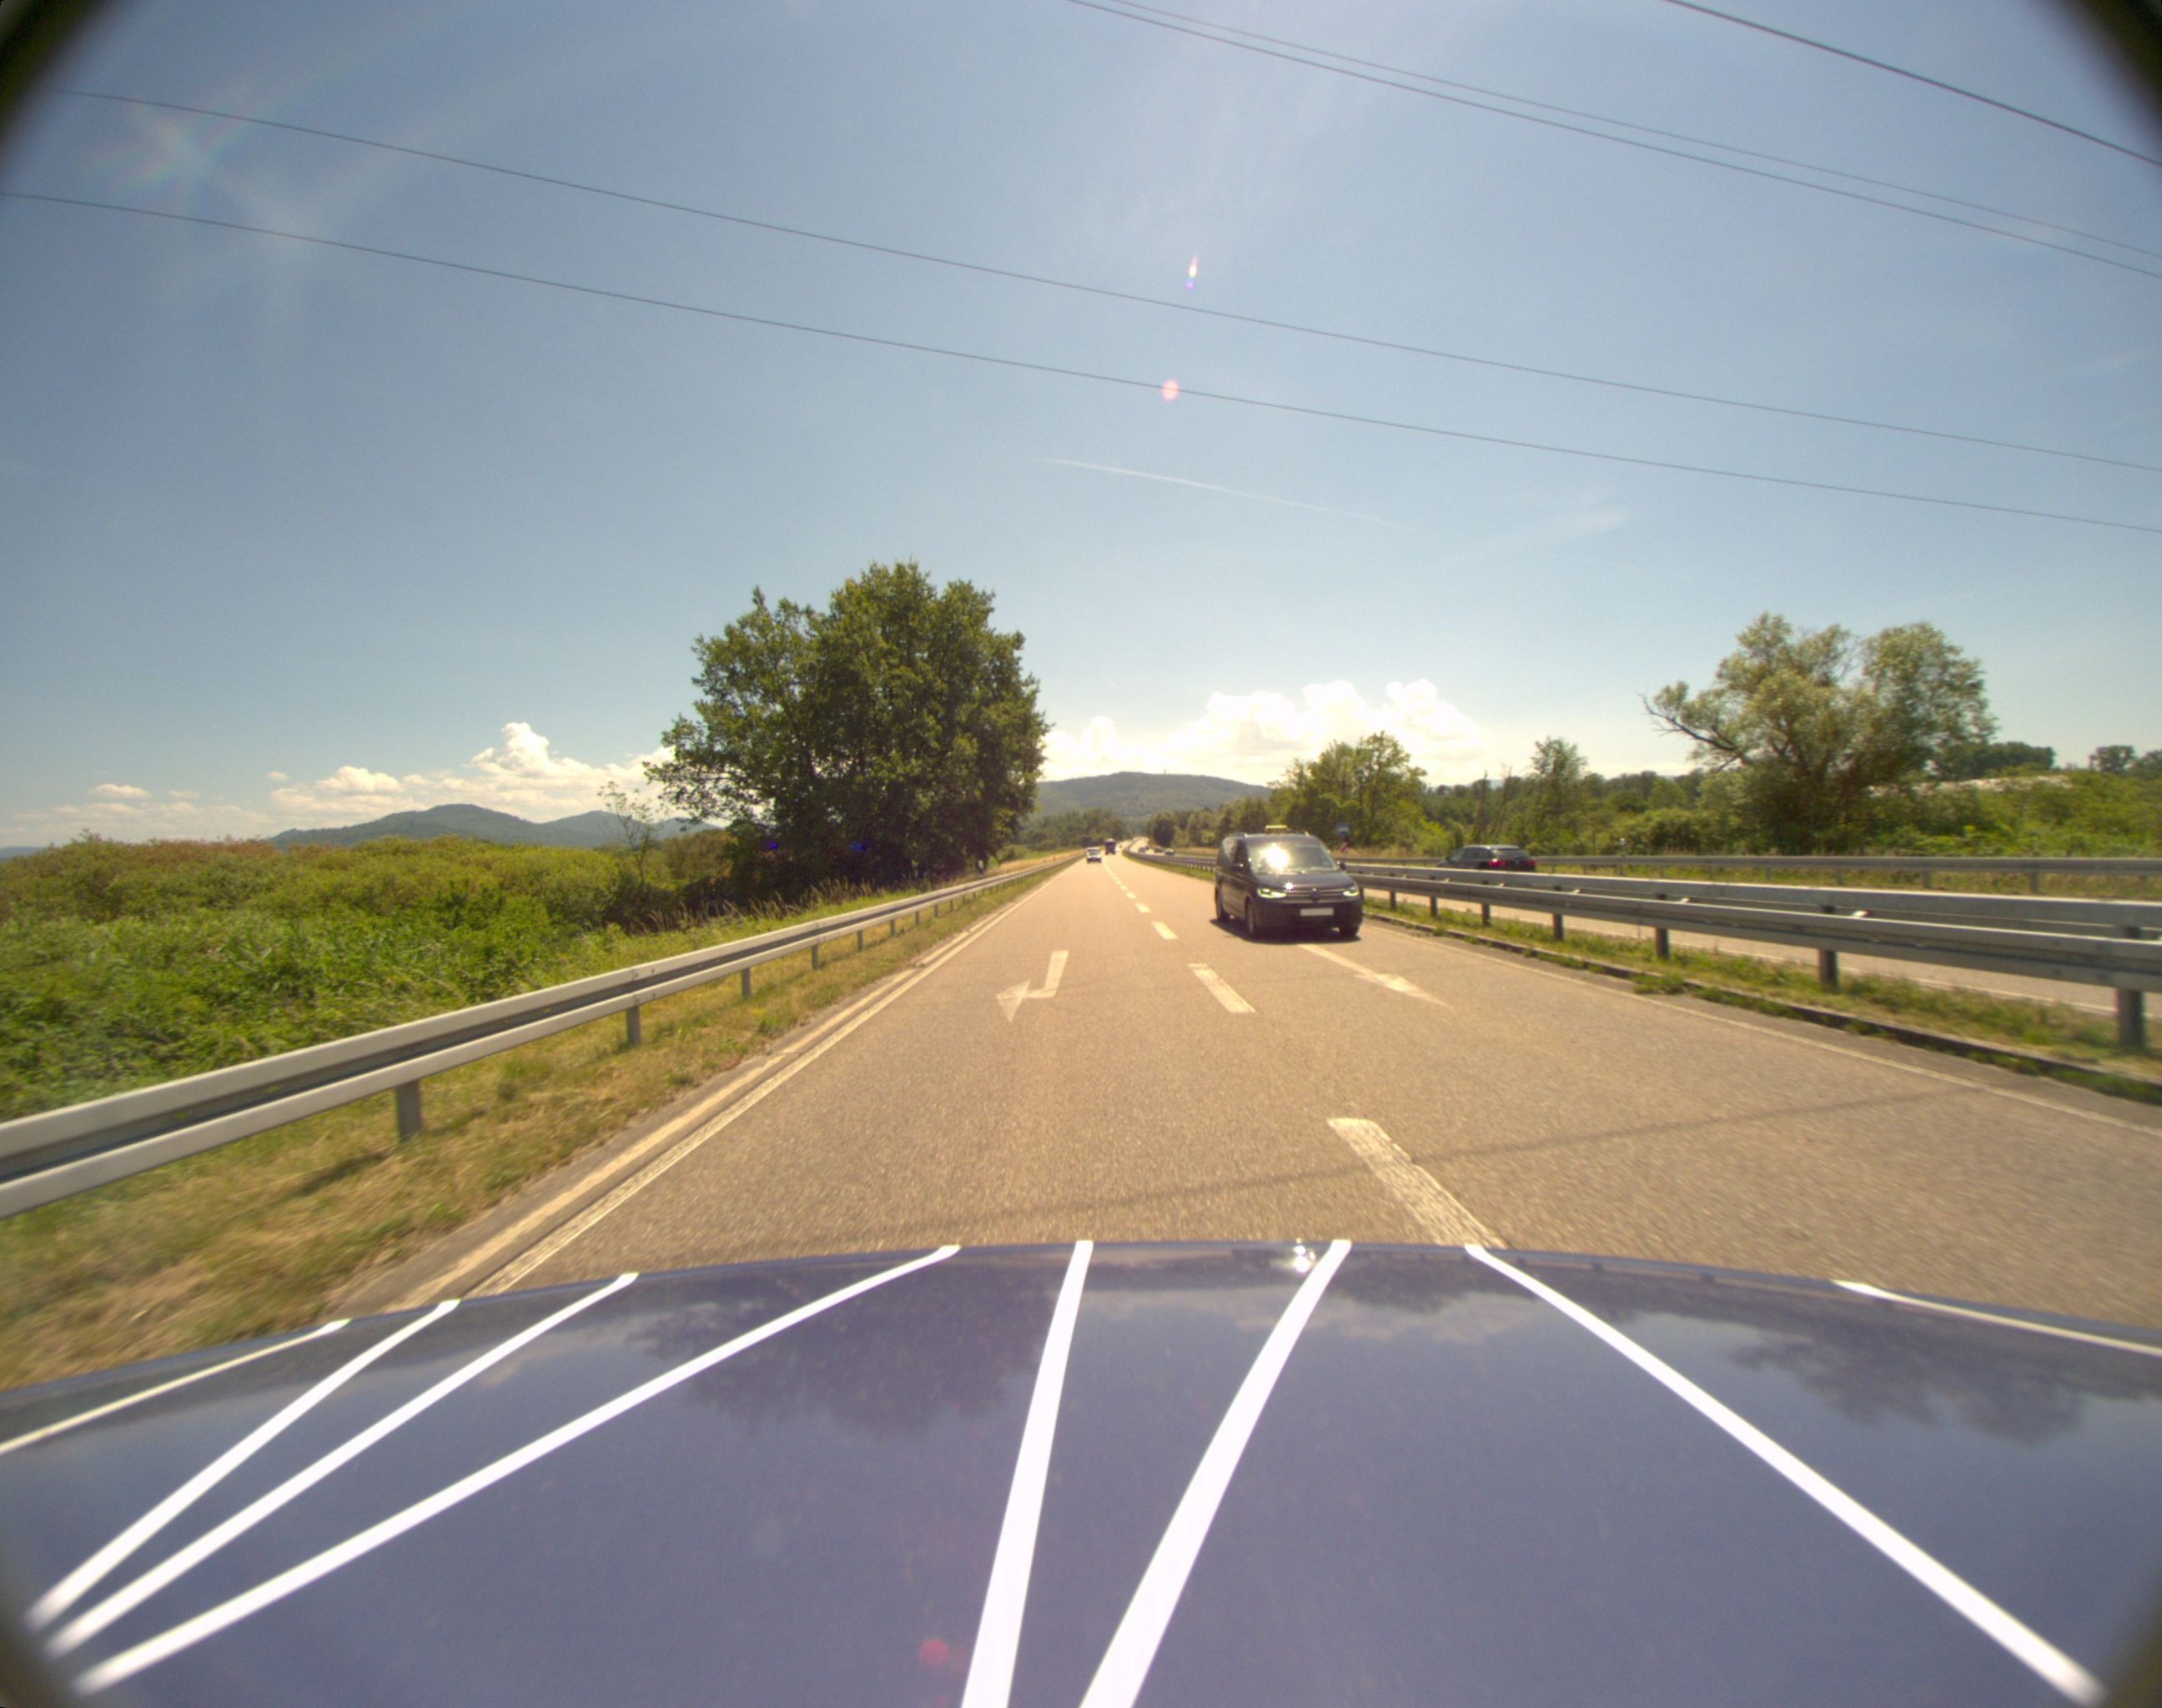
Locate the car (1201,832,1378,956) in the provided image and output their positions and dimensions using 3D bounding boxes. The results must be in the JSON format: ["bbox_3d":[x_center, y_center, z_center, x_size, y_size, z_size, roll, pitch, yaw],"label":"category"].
[{"bbox_3d":[3.674,0.599,14.579,1.859,1.876,5.573,-2,0,0],"label":"car"}]

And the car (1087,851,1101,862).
[{"bbox_3d":[1.625,0.303,95.487,1.577,1.387,3.486,-2,1,4],"label":"car"}]

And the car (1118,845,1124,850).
[{"bbox_3d":[12.778,-1.941,242.728,1.619,1.545,3.486,-2,1,4],"label":"car"}]

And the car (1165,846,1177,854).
[{"bbox_3d":[16.922,-0.747,142.956,1.929,1.377,4.658,-1,0,2],"label":"car"}]

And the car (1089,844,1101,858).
[{"bbox_3d":[2.124,-0.492,115.596,1.619,2.086,3.486,-2,1,4],"label":"car"}]

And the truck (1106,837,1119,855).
[{"bbox_3d":[7.876,-1.960,189.183,2.826,4.143,9.949,-2,1,4],"label":"truck"}]

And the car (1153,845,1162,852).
[{"bbox_3d":[19.132,-1.383,189.279,1.846,1.608,4.170,-2,0,1],"label":"car"}]

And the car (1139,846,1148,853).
[{"bbox_3d":[16.754,-1.157,203.352,1.984,1.797,4.968,-2,0,1],"label":"car"}]

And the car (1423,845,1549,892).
[{"bbox_3d":[13.682,0.438,26.051,1.849,1.405,4.680,-2,0,1],"label":"car"}]
